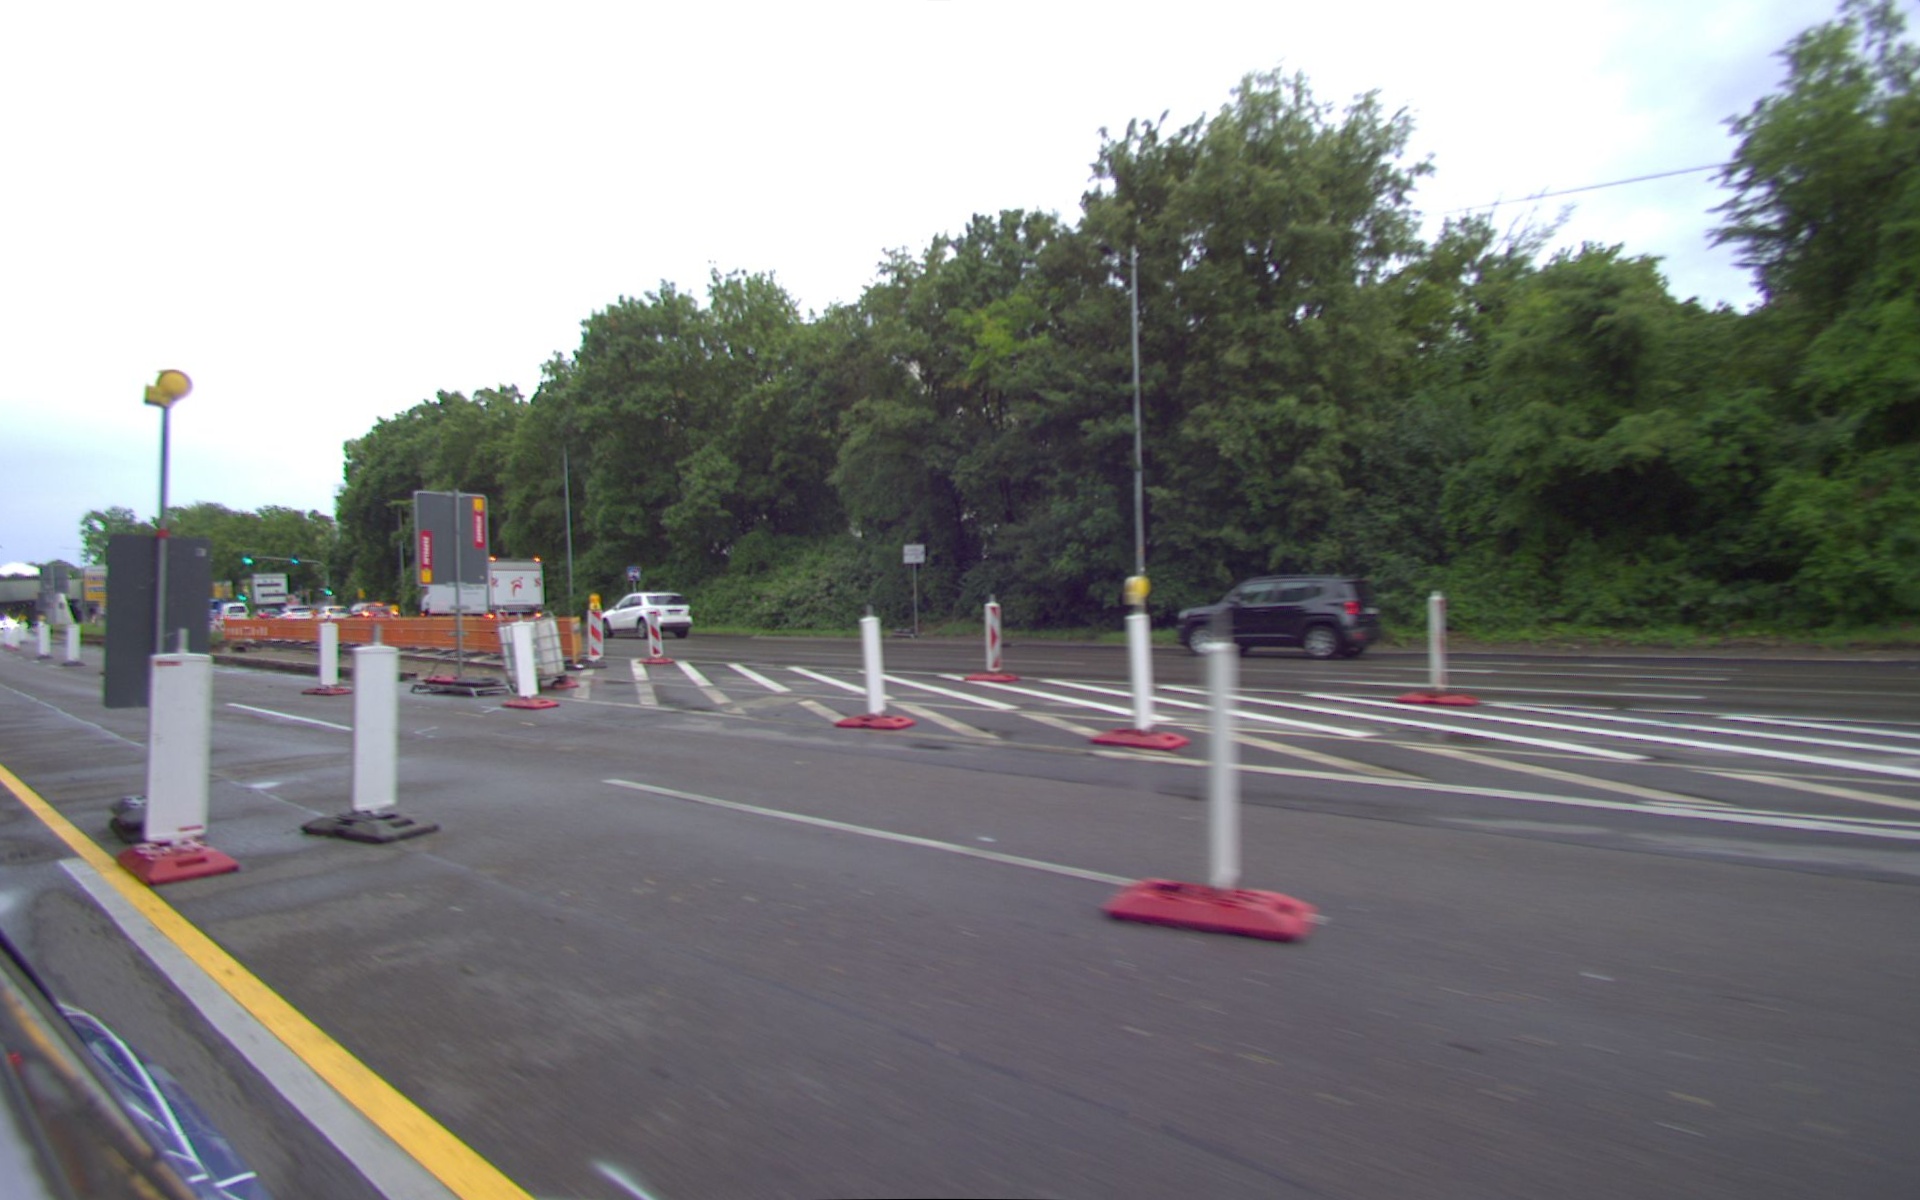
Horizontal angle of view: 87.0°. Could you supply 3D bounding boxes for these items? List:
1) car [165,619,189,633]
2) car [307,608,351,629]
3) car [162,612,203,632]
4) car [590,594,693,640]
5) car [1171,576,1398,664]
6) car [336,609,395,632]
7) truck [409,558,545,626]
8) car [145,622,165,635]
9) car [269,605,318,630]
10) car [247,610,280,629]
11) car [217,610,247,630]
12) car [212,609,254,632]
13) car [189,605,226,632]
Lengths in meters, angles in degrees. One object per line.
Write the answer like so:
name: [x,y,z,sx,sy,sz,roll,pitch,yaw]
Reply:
car: [-69.969,2.300,90.390,1.412,1.209,3.304,-3,1,-42]
car: [-45.343,1.321,72.679,3.897,1.436,1.771,-2,0,44]
car: [-61.042,1.715,79.428,4.680,1.497,1.835,-2,0,44]
car: [-12.660,0.709,40.075,4.720,1.736,1.824,-2,-3,44]
car: [6.683,0.421,21.116,4.197,1.660,1.618,-2,-1,42]
car: [-32.047,1.103,54.489,4.283,1.161,1.588,-1,0,44]
truck: [-24.731,-0.321,51.430,10.149,3.172,2.765,-1,0,44]
car: [-82.951,2.913,104.282,1.529,1.209,4.656,-3,1,-38]
car: [-44.035,1.175,66.877,4.040,1.562,1.815,-2,0,44]
car: [-62.164,1.716,90.295,1.772,1.535,4.639,-3,1,-42]
car: [-80.199,2.189,111.419,2.011,1.989,4.995,-3,1,-43]
car: [-60.965,1.735,84.813,4.834,1.794,1.893,-2,0,43]
car: [-74.246,1.885,99.799,2.169,2.408,6.250,-3,1,-43]
